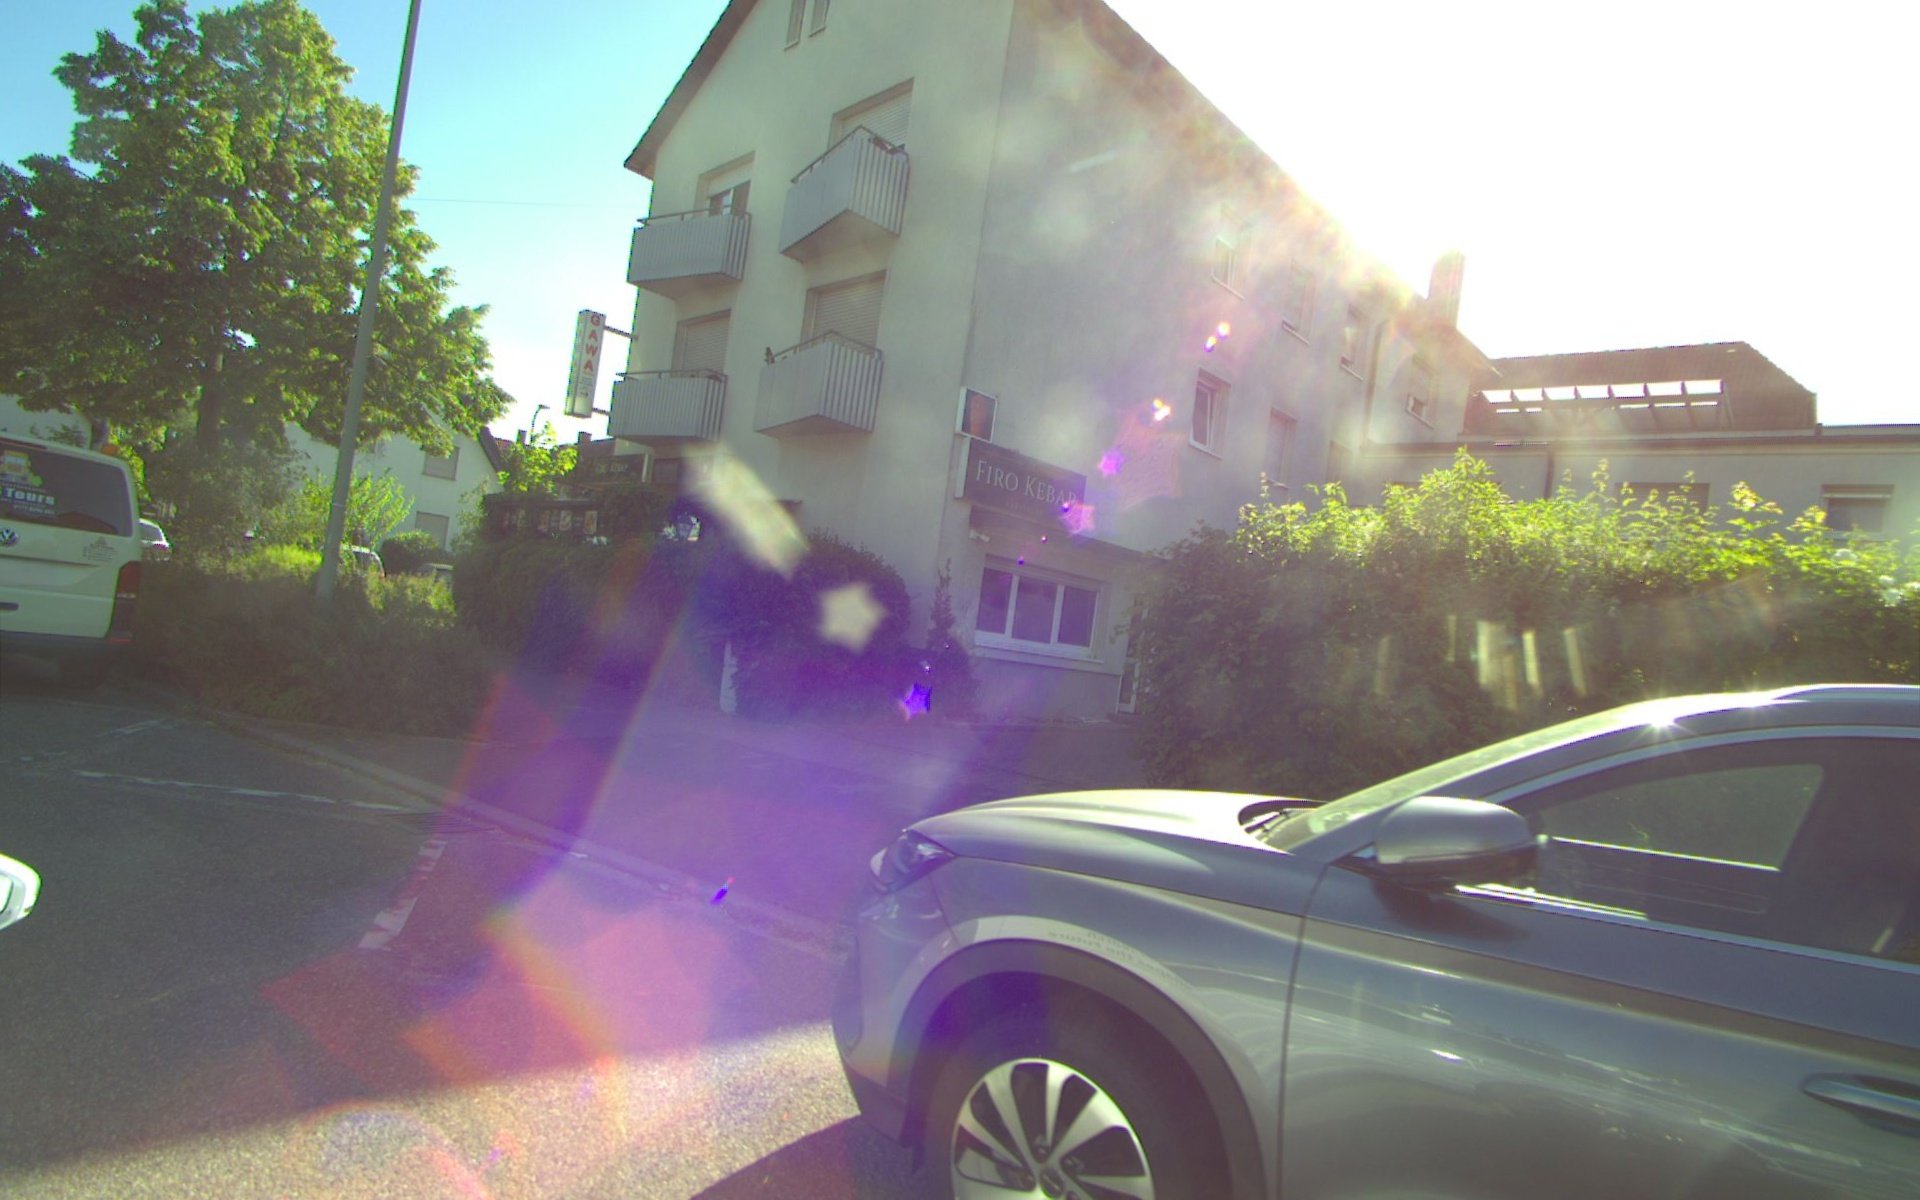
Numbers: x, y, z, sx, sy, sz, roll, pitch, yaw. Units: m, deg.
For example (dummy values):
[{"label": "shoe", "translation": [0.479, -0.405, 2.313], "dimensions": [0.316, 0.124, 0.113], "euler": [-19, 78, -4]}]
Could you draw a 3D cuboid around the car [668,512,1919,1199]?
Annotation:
[{"label": "car", "translation": [1.751, 0.986, 2.391], "dimensions": [4.499, 1.757, 1.962], "euler": [7, -2, 30]}]

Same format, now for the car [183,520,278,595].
[{"label": "car", "translation": [-20.327, -1.220, 27.967], "dimensions": [1.703, 1.534, 4.353], "euler": [11, -2, -40]}]

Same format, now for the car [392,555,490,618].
[{"label": "car", "translation": [-16.490, -0.456, 31.873], "dimensions": [1.642, 1.365, 4.063], "euler": [11, -2, -42]}]

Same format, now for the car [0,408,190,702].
[{"label": "car", "translation": [-8.848, -0.525, 8.717], "dimensions": [4.506, 2.102, 1.996], "euler": [6, -2, 35]}]

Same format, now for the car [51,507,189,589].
[{"label": "car", "translation": [-21.641, -1.360, 25.841], "dimensions": [4.735, 1.438, 1.992], "euler": [9, -1, 42]}]

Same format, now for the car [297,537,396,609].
[{"label": "car", "translation": [-18.256, -0.846, 29.841], "dimensions": [1.703, 1.569, 4.353], "euler": [11, -2, -40]}]
